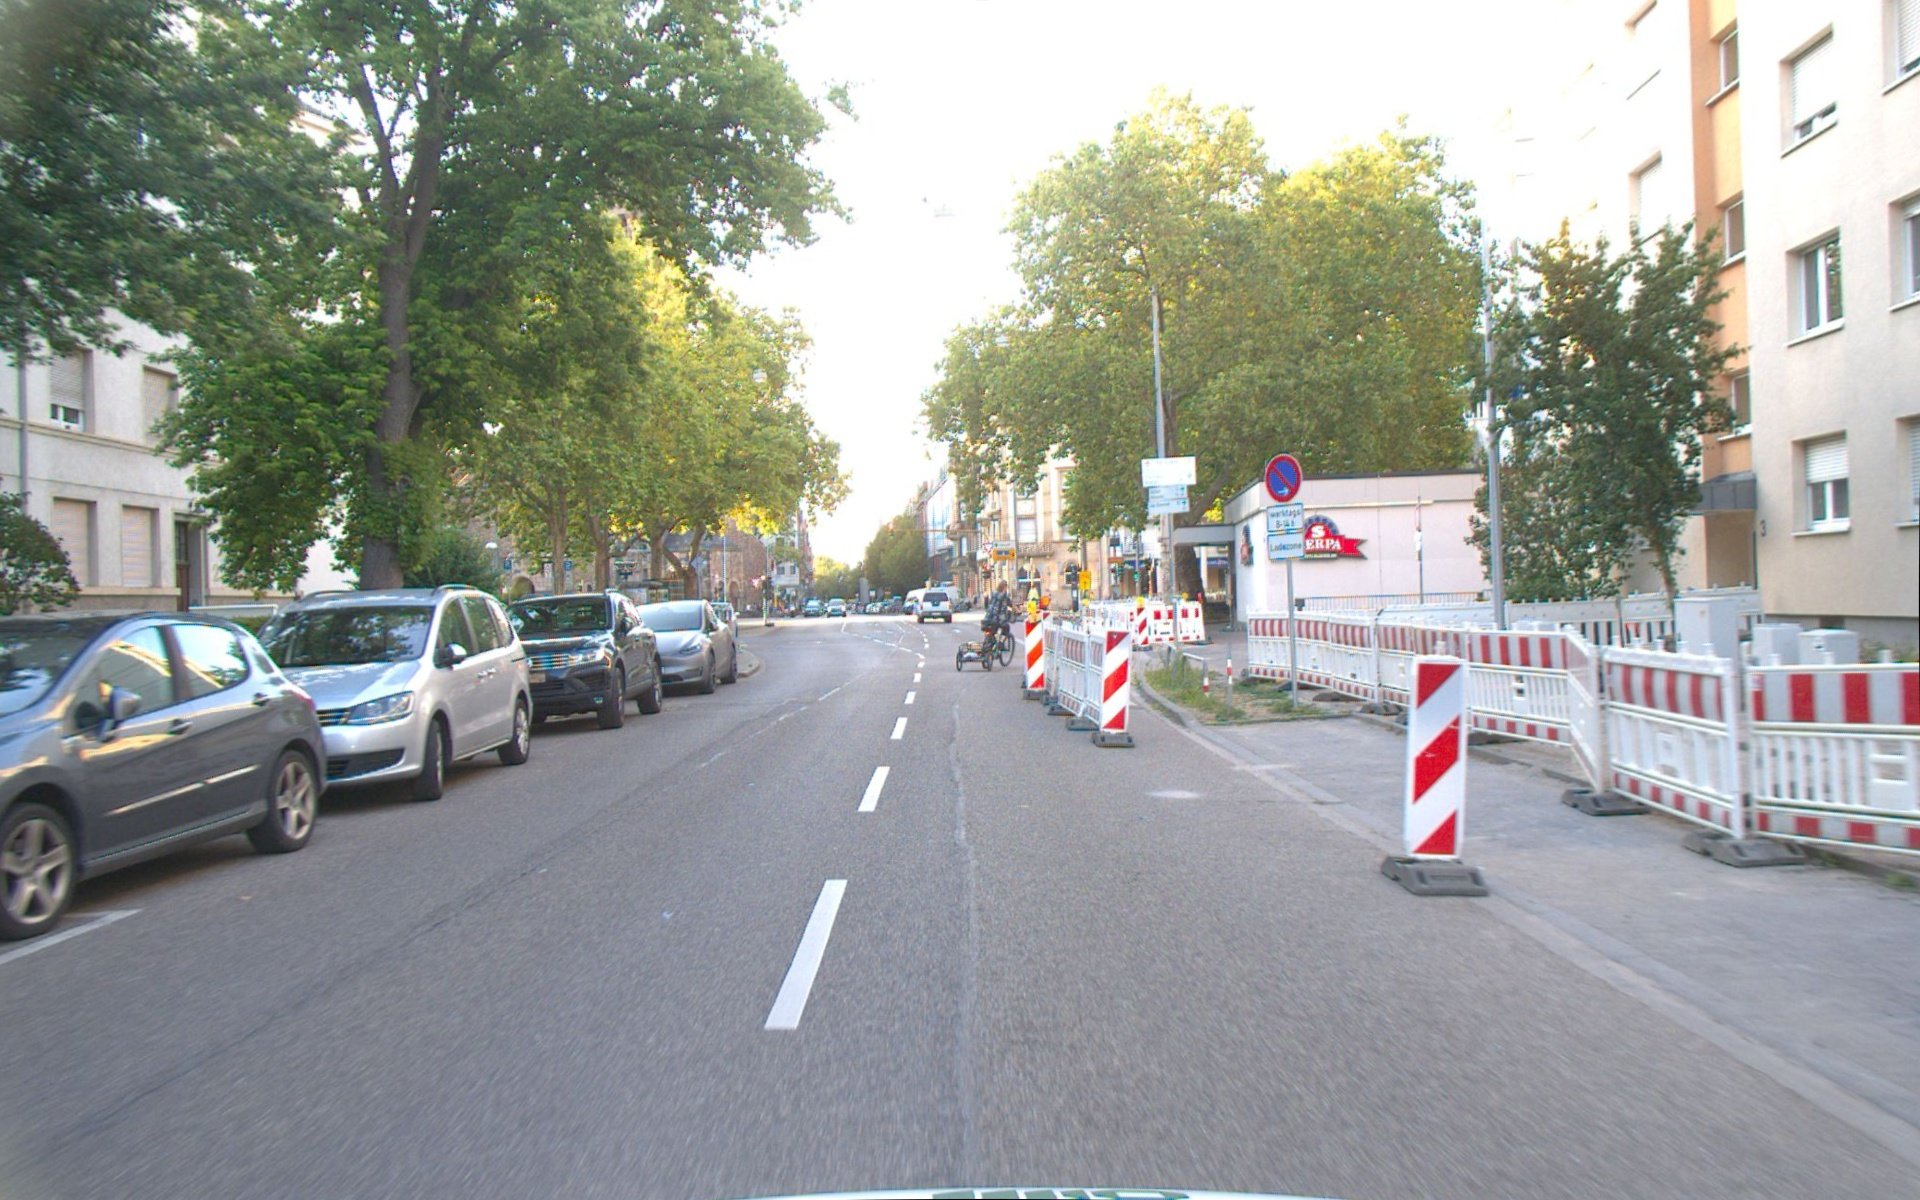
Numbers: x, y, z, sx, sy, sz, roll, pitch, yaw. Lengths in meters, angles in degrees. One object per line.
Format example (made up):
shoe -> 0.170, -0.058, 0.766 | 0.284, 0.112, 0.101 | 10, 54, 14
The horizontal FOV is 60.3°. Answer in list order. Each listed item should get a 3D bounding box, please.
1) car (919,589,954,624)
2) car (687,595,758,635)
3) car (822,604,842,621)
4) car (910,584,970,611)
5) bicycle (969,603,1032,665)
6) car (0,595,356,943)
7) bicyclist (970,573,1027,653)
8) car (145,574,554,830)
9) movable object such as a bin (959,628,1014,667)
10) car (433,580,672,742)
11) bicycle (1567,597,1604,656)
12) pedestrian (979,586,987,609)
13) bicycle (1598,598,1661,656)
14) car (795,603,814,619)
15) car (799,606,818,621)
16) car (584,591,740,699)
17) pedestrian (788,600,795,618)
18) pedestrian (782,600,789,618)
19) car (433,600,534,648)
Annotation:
car -> -1.351, 0.375, 93.391 | 1.828, 1.846, 3.998 | -3, 0, -2
car -> -9.904, 0.606, 69.241 | 1.951, 1.545, 4.003 | -2, 0, 7
car -> -12.404, 1.197, 160.112 | 1.748, 1.680, 3.814 | 0, 0, -8
car -> -1.826, -0.246, 155.716 | 5.778, 2.328, 2.039 | -2, 0, -44
bicycle -> 0.880, 0.716, 35.512 | 0.919, 1.192, 2.361 | -5, 0, 10
car -> -5.002, 0.796, 8.786 | 1.696, 1.523, 4.272 | -4, 0, 4
bicyclist -> 0.832, 0.272, 35.417 | 0.919, 1.609, 1.147 | -4, -1, 10
car -> -4.988, 0.737, 14.343 | 1.810, 1.720, 4.857 | -4, 0, -2
movable object such as a bin -> 0.552, 0.969, 33.861 | 0.919, 0.701, 0.994 | -5, 0, 10
car -> -5.149, 0.708, 21.595 | 1.914, 1.748, 4.770 | -4, 0, -1
bicycle -> 11.128, 0.466, 29.386 | 0.533, 0.985, 1.814 | -2, 0, 23
pedestrian -> 1.955, -0.190, 141.063 | 0.581, 1.919, 0.647 | -2, 0, 1
bicycle -> 11.957, 0.462, 29.586 | 0.532, 0.985, 1.698 | -2, 0, 4
car -> -17.116, 1.197, 181.853 | 1.956, 1.680, 3.814 | 0, 0, -8
car -> -17.352, 1.503, 189.637 | 1.956, 1.680, 3.814 | 0, 0, -8
car -> -5.193, 0.733, 29.434 | 1.914, 1.645, 4.604 | -4, 0, -1
pedestrian -> -18.020, 0.985, 176.856 | 0.580, 1.919, 0.554 | -2, 0, 6
pedestrian -> -18.678, 0.987, 176.867 | 0.581, 1.919, 0.585 | -2, 0, 5
car -> -20.293, 1.008, 70.608 | 1.781, 1.831, 4.634 | -2, 1, 18
